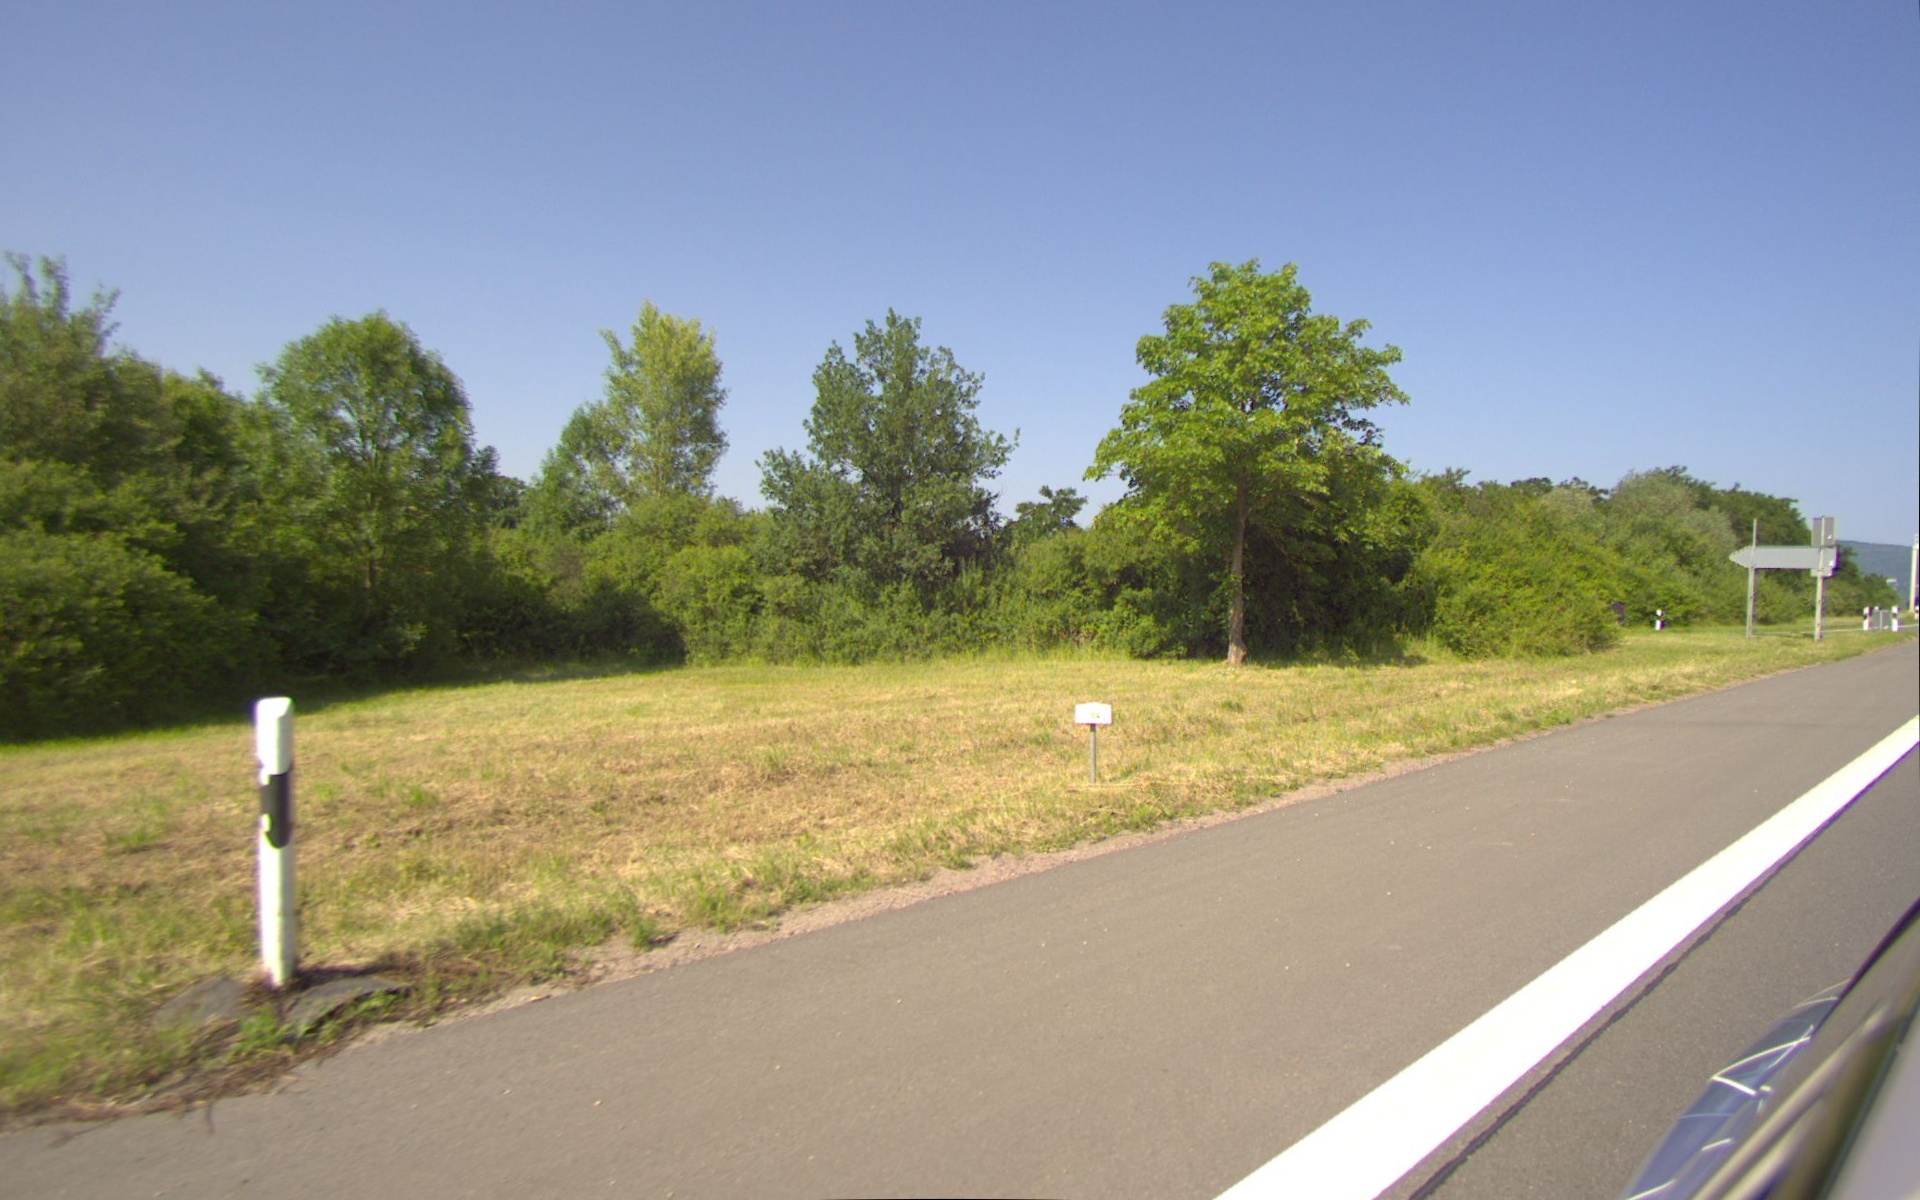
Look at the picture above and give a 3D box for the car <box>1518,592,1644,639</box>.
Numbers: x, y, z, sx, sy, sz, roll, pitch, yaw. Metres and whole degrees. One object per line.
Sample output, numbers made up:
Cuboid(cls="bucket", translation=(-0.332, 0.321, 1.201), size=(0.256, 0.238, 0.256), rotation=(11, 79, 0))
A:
Cuboid(cls="car", translation=(24.342, 0.604, 39.734), size=(4.061, 1.668, 1.794), rotation=(-2, -1, -14))
